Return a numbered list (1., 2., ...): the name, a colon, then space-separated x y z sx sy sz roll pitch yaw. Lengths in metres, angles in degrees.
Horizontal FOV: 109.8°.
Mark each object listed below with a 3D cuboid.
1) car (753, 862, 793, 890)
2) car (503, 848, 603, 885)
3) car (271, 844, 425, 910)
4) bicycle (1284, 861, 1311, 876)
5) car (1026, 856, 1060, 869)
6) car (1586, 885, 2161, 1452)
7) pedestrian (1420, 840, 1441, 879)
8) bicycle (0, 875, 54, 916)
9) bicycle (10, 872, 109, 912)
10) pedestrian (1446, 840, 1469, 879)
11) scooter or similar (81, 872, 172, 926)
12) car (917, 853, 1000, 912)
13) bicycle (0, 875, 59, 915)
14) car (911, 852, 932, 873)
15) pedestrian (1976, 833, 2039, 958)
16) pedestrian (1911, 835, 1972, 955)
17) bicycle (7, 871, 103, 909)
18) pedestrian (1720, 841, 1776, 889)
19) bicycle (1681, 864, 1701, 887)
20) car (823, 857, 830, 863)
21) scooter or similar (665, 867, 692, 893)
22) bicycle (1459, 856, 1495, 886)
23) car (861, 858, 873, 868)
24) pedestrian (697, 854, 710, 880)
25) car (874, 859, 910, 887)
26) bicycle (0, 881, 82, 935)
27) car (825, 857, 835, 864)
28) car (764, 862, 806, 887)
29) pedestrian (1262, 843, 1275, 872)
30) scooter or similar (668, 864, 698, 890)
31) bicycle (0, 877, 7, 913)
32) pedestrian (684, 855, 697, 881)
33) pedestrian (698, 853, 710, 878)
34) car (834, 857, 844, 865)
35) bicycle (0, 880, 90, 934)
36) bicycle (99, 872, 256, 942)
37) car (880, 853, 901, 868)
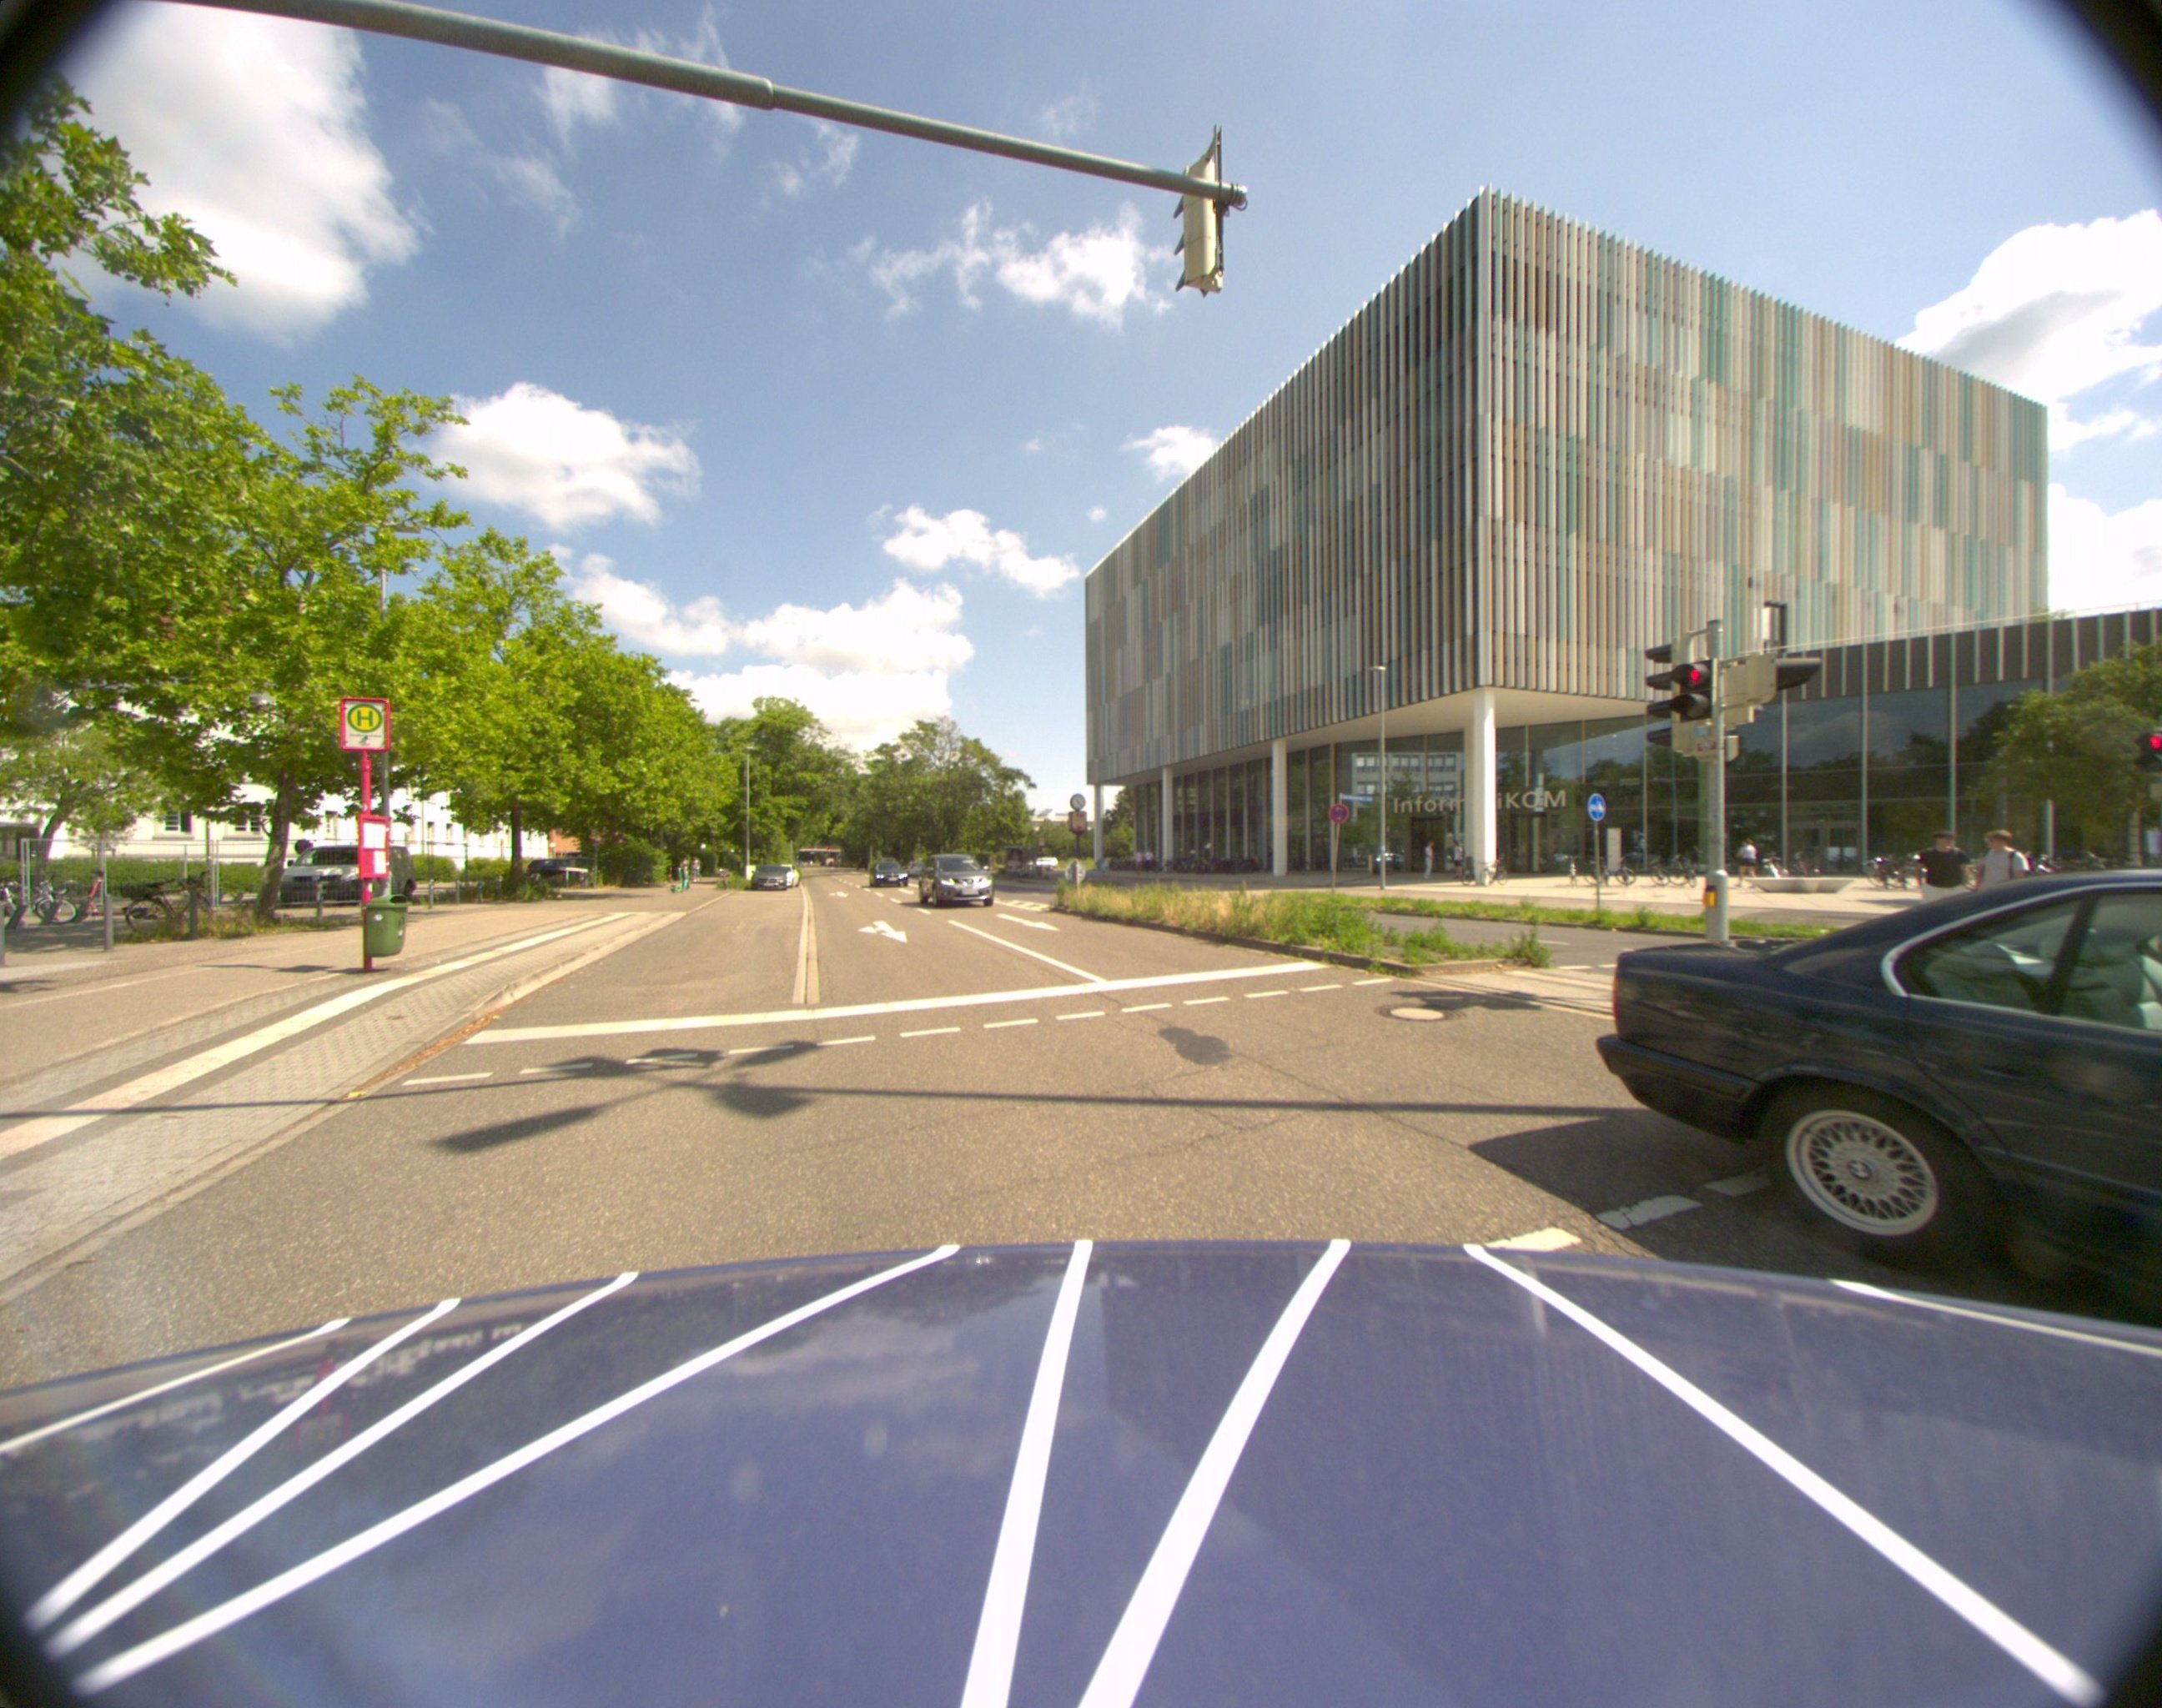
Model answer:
1. car: -17.147 1.196 42.433 1.864 1.469 4.934 1 -1 -20
2. car: -28.148 0.628 40.687 4.004 1.773 1.996 -3 1 -23
3. car: -23.418 0.664 24.555 1.906 1.854 4.932 -2 1 -23
4. bicycle: 12.718 0.843 44.531 1.547 0.771 0.373 -2 1 -17
5. car: -4.722 1.043 94.453 3.830 1.502 1.897 -2 1 -15
6. car: 3.864 0.873 1.611 1.698 1.378 4.607 -2 0 -17
7. pedestrian: 16.967 0.269 36.898 0.787 1.831 0.518 -1 1 14
8. bicycle: -30.598 1.188 21.498 0.602 1.092 1.771 -1 2 39
9. bicycle: -31.669 1.163 23.589 0.602 1.092 1.771 -1 2 38
10. pedestrian: 18.169 0.262 36.632 0.691 1.831 0.677 -2 1 -13
11. scooter or similar: -22.992 1.072 18.326 1.301 1.226 0.280 -2 3 -35
12. car: -4.098 0.883 24.793 1.827 1.669 4.471 -2 0 -20
13. bicycle: -31.384 1.206 22.191 0.602 1.092 1.771 -1 2 39
14. car: -15.008 0.810 71.333 1.731 1.800 4.728 2 -2 -13
15. pedestrian: 14.038 0.612 11.525 0.416 1.831 0.574 -3 2 -44
16. pedestrian: 13.553 0.621 11.982 0.481 1.831 0.631 -3 2 -43
17. bicycle: -32.759 1.135 24.301 0.602 1.092 1.771 -1 2 38
18. pedestrian: 23.151 0.369 26.378 1.184 1.640 1.013 -1 1 -20
19. bicycle: 22.152 0.759 27.609 0.527 0.759 1.777 0 1 38
20. car: -76.237 1.813 227.641 1.759 1.502 3.822 -3 1 -19
21. scooter or similar: -18.416 1.160 34.767 0.530 1.162 1.574 1 -1 -7
22. bicycle: 16.444 0.697 31.540 1.548 1.180 0.373 -2 2 -22
23. car: -36.440 1.566 129.641 1.901 1.502 3.823 -2 1 -15
24. pedestrian: -26.329 0.905 52.965 0.685 1.770 0.789 -3 2 -27
25. car: -10.627 1.019 42.951 1.831 1.407 4.186 -1 0 -12
26. bicycle: -22.994 1.176 16.331 0.602 1.092 1.771 -1 2 39
27. car: -61.570 1.574 186.273 1.901 1.502 3.823 -2 1 -15
28. car: -18.468 1.271 47.552 1.745 1.442 4.936 1 -1 -13
29. pedestrian: 12.385 0.232 50.075 0.563 1.831 0.553 -2 1 -28
30. scooter or similar: -19.375 1.126 36.989 0.529 1.239 1.291 1 -1 14
31. bicycle: -33.478 1.278 22.554 0.591 1.092 1.771 -1 2 38
32. pedestrian: -27.119 0.935 52.777 0.685 1.770 0.789 -3 2 -28
33. pedestrian: -27.394 0.851 55.247 0.685 1.770 0.789 -3 2 -27
34. car: -53.283 1.578 167.187 1.901 1.502 3.823 -2 1 -15
35. bicycle: -23.473 1.177 16.846 0.602 1.092 1.771 -1 2 39
36. bicycle: -17.442 0.973 14.763 0.800 1.176 2.029 -2 1 -10
37. car: -24.274 0.813 96.474 1.906 1.801 4.723 -1 0 -22
